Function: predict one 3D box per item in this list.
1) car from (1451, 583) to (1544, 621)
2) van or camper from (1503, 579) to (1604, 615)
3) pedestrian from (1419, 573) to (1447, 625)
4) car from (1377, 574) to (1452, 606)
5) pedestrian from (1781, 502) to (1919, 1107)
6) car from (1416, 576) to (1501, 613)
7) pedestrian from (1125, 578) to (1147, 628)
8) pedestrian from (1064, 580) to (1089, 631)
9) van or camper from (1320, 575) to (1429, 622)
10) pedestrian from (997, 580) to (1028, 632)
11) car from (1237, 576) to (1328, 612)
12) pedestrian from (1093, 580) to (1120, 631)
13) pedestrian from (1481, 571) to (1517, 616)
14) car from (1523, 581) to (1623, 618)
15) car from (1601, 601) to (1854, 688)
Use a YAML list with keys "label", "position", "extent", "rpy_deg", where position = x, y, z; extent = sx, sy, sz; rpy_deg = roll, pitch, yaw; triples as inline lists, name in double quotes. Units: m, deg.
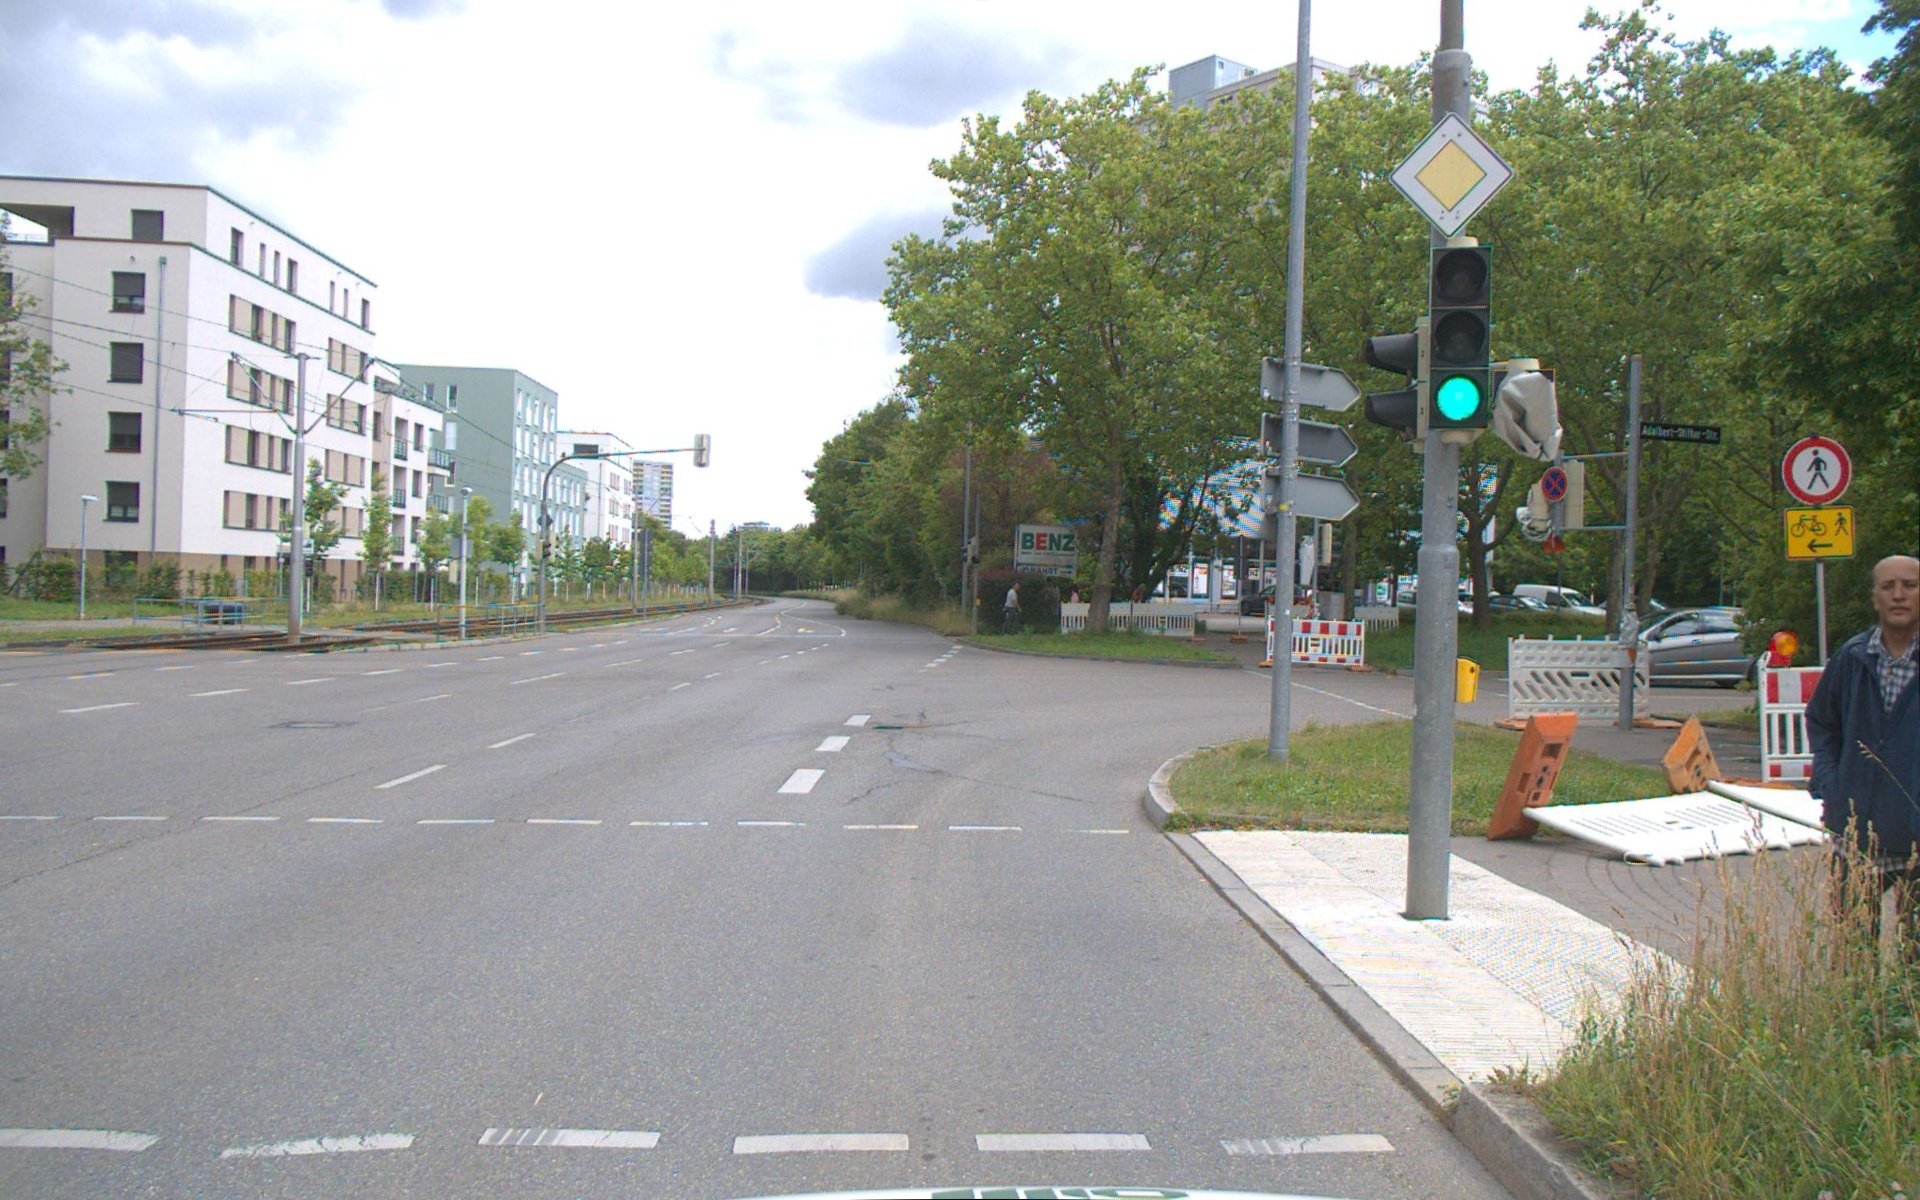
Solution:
- label: "car"
  position: [21.118, 0.086, 65.055]
  extent: [1.464, 1.429, 3.375]
  rpy_deg: [1, 0, -30]
- label: "van or camper"
  position: [23.983, -0.121, 66.907]
  extent: [1.499, 1.380, 3.732]
  rpy_deg: [1, 0, -33]
- label: "pedestrian"
  position: [19.089, -0.036, 66.774]
  extent: [0.788, 2.037, 0.852]
  rpy_deg: [1, -1, -5]
- label: "car"
  position: [21.502, -0.470, 78.355]
  extent: [1.465, 1.429, 3.373]
  rpy_deg: [1, 0, -31]
- label: "pedestrian"
  position: [3.040, 0.597, 5.261]
  extent: [0.712, 1.770, 0.954]
  rpy_deg: [1, 0, 28]
- label: "car"
  position: [24.088, -0.273, 80.051]
  extent: [1.650, 1.663, 3.783]
  rpy_deg: [1, 1, -30]
- label: "pedestrian"
  position: [5.554, 0.104, 52.101]
  extent: [0.639, 1.565, 0.773]
  rpy_deg: [1, -1, 7]
- label: "pedestrian"
  position: [3.520, 0.173, 50.087]
  extent: [0.683, 1.515, 0.688]
  rpy_deg: [1, -1, -1]
- label: "van or camper"
  position: [15.510, -0.070, 62.039]
  extent: [1.819, 1.713, 3.964]
  rpy_deg: [0, 1, -28]
- label: "pedestrian"
  position: [1.624, 0.190, 51.525]
  extent: [0.832, 1.614, 0.795]
  rpy_deg: [1, -1, -6]
- label: "car"
  position: [14.090, -0.254, 72.536]
  extent: [1.708, 1.526, 4.232]
  rpy_deg: [1, 0, -27]
- label: "pedestrian"
  position: [4.431, 0.180, 50.005]
  extent: [0.682, 1.515, 0.721]
  rpy_deg: [1, -1, 12]
- label: "pedestrian"
  position: [23.174, -0.292, 71.129]
  extent: [1.056, 1.904, 1.054]
  rpy_deg: [1, -1, -19]
- label: "car"
  position: [25.566, -0.028, 69.048]
  extent: [1.465, 1.491, 3.851]
  rpy_deg: [1, 0, -31]
- label: "car"
  position: [15.507, 0.884, 33.569]
  extent: [4.307, 1.614, 1.772]
  rpy_deg: [1, 0, 0]
